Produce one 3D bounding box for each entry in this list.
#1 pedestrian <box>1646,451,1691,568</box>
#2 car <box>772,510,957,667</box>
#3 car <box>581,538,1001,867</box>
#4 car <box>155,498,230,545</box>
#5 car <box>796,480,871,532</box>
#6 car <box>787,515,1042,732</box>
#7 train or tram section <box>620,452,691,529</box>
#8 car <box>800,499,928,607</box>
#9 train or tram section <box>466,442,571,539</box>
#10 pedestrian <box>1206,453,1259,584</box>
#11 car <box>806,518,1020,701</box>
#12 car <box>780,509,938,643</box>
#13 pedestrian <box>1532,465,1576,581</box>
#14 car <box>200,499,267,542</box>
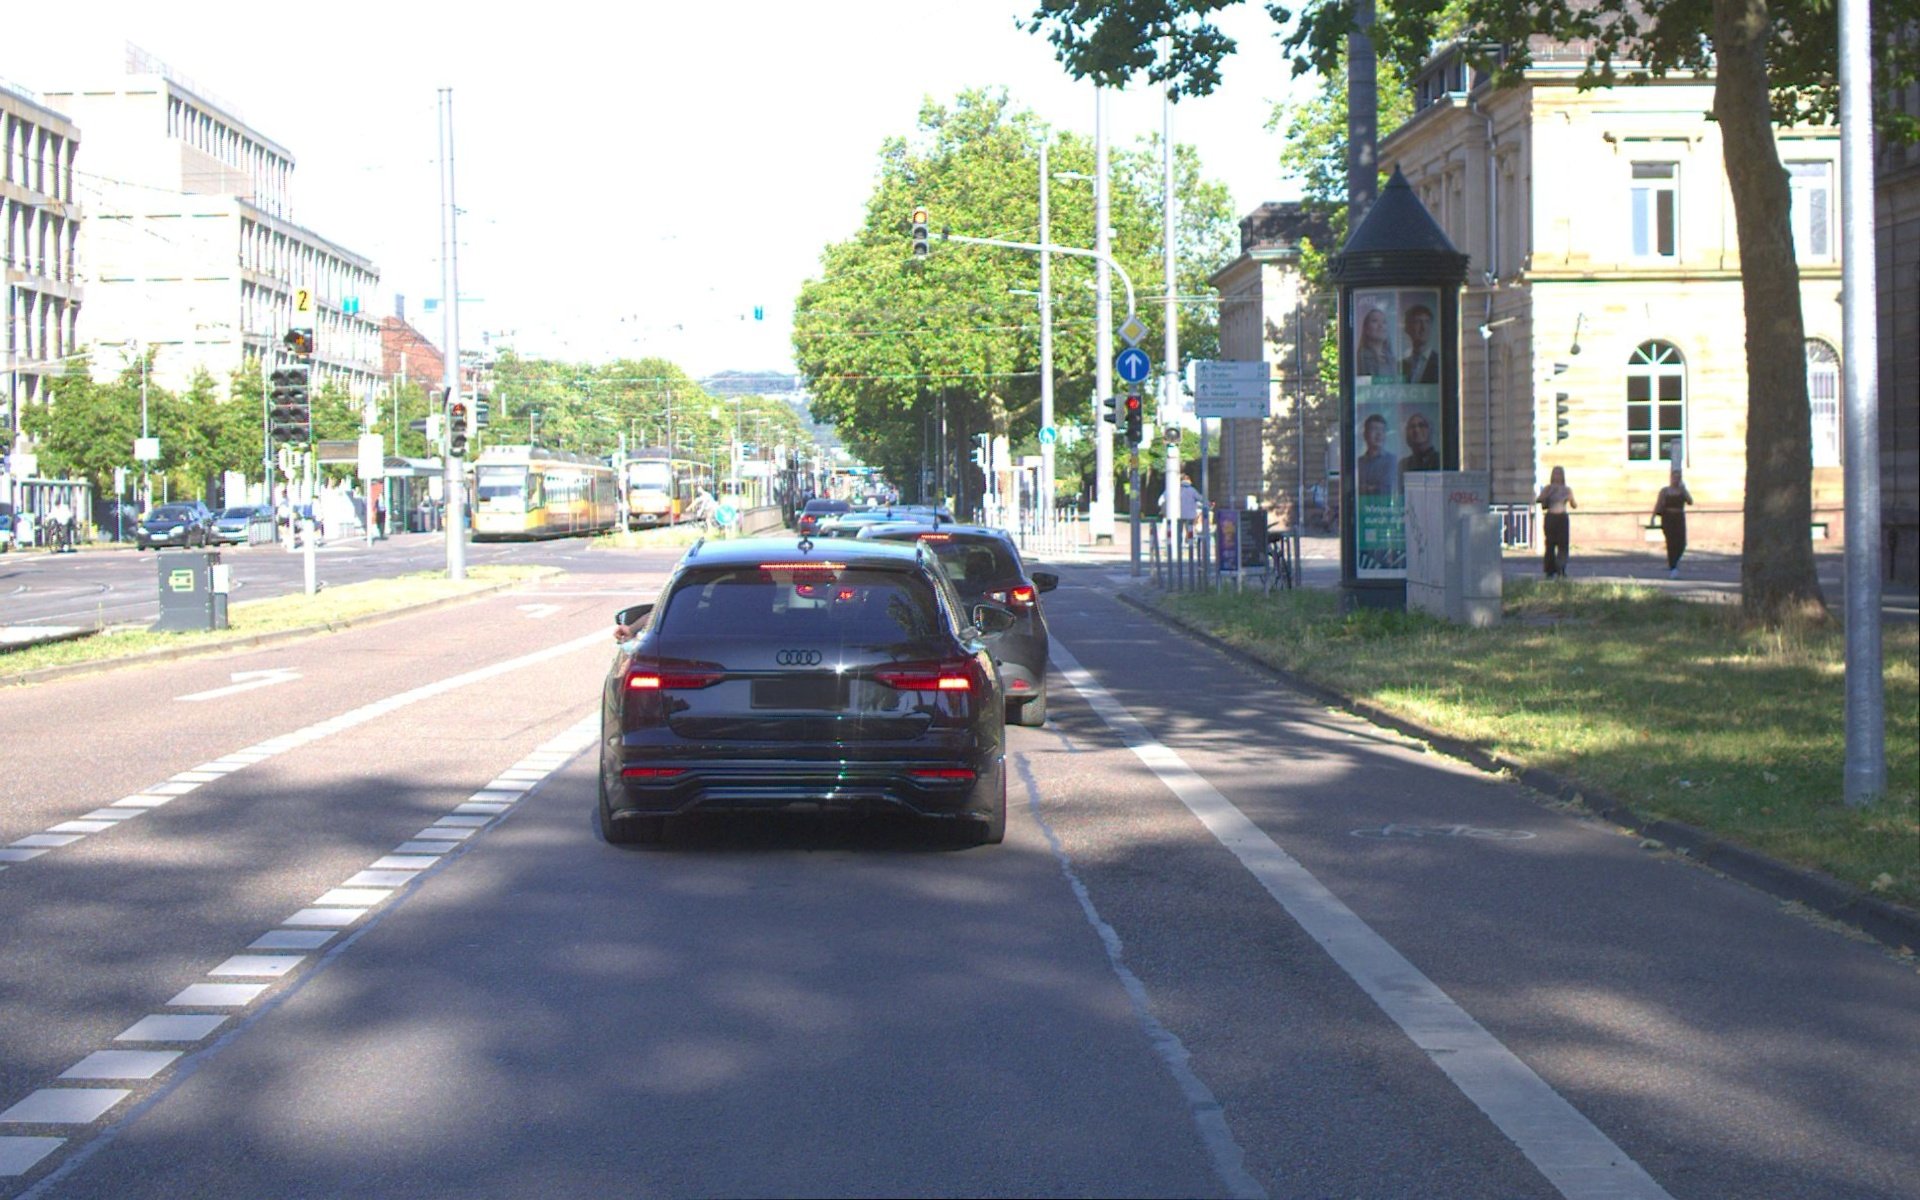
[{"bbox_3d":[10.568,-1.357,51.240,0.588,1.722,0.650,2,2,14],"label":"pedestrian"},{"bbox_3d":[-0.961,-0.163,35.765,1.794,1.505,4.000,-1,2,-1],"label":"car"},{"bbox_3d":[-0.799,0.409,17.084,1.833,1.386,4.160,0,2,-2],"label":"car"},{"bbox_3d":[-25.500,-2.640,114.341,1.794,1.505,4.001,-1,2,-3],"label":"car"},{"bbox_3d":[-3.841,-2.860,104.741,1.794,1.505,4.000,1,1,4],"label":"car"},{"bbox_3d":[-0.345,0.118,26.447,1.794,1.505,4.000,-1,2,-1],"label":"car"},{"bbox_3d":[-14.043,-5.053,158.973,2.825,3.439,9.065,-1,2,-3],"label":"train or tram section"},{"bbox_3d":[-1.386,-0.725,50.818,1.794,1.505,4.000,-1,2,-1],"label":"car"},{"bbox_3d":[-16.285,-4.053,127.370,2.825,3.439,9.065,-1,2,-1],"label":"train or tram section"},{"bbox_3d":[3.631,-1.096,45.849,0.588,1.722,0.650,2,2,12],"label":"pedestrian"},{"bbox_3d":[-0.418,0.032,31.057,1.794,1.505,4.000,-1,2,-1],"label":"car"},{"bbox_3d":[-1.185,-0.334,41.483,1.794,1.505,4.000,-1,2,-1],"label":"car"},{"bbox_3d":[8.891,-1.157,51.479,0.588,1.722,0.650,2,2,12],"label":"pedestrian"},{"bbox_3d":[-26.175,-2.881,123.947,1.794,1.505,4.001,-1,2,-3],"label":"car"}]
